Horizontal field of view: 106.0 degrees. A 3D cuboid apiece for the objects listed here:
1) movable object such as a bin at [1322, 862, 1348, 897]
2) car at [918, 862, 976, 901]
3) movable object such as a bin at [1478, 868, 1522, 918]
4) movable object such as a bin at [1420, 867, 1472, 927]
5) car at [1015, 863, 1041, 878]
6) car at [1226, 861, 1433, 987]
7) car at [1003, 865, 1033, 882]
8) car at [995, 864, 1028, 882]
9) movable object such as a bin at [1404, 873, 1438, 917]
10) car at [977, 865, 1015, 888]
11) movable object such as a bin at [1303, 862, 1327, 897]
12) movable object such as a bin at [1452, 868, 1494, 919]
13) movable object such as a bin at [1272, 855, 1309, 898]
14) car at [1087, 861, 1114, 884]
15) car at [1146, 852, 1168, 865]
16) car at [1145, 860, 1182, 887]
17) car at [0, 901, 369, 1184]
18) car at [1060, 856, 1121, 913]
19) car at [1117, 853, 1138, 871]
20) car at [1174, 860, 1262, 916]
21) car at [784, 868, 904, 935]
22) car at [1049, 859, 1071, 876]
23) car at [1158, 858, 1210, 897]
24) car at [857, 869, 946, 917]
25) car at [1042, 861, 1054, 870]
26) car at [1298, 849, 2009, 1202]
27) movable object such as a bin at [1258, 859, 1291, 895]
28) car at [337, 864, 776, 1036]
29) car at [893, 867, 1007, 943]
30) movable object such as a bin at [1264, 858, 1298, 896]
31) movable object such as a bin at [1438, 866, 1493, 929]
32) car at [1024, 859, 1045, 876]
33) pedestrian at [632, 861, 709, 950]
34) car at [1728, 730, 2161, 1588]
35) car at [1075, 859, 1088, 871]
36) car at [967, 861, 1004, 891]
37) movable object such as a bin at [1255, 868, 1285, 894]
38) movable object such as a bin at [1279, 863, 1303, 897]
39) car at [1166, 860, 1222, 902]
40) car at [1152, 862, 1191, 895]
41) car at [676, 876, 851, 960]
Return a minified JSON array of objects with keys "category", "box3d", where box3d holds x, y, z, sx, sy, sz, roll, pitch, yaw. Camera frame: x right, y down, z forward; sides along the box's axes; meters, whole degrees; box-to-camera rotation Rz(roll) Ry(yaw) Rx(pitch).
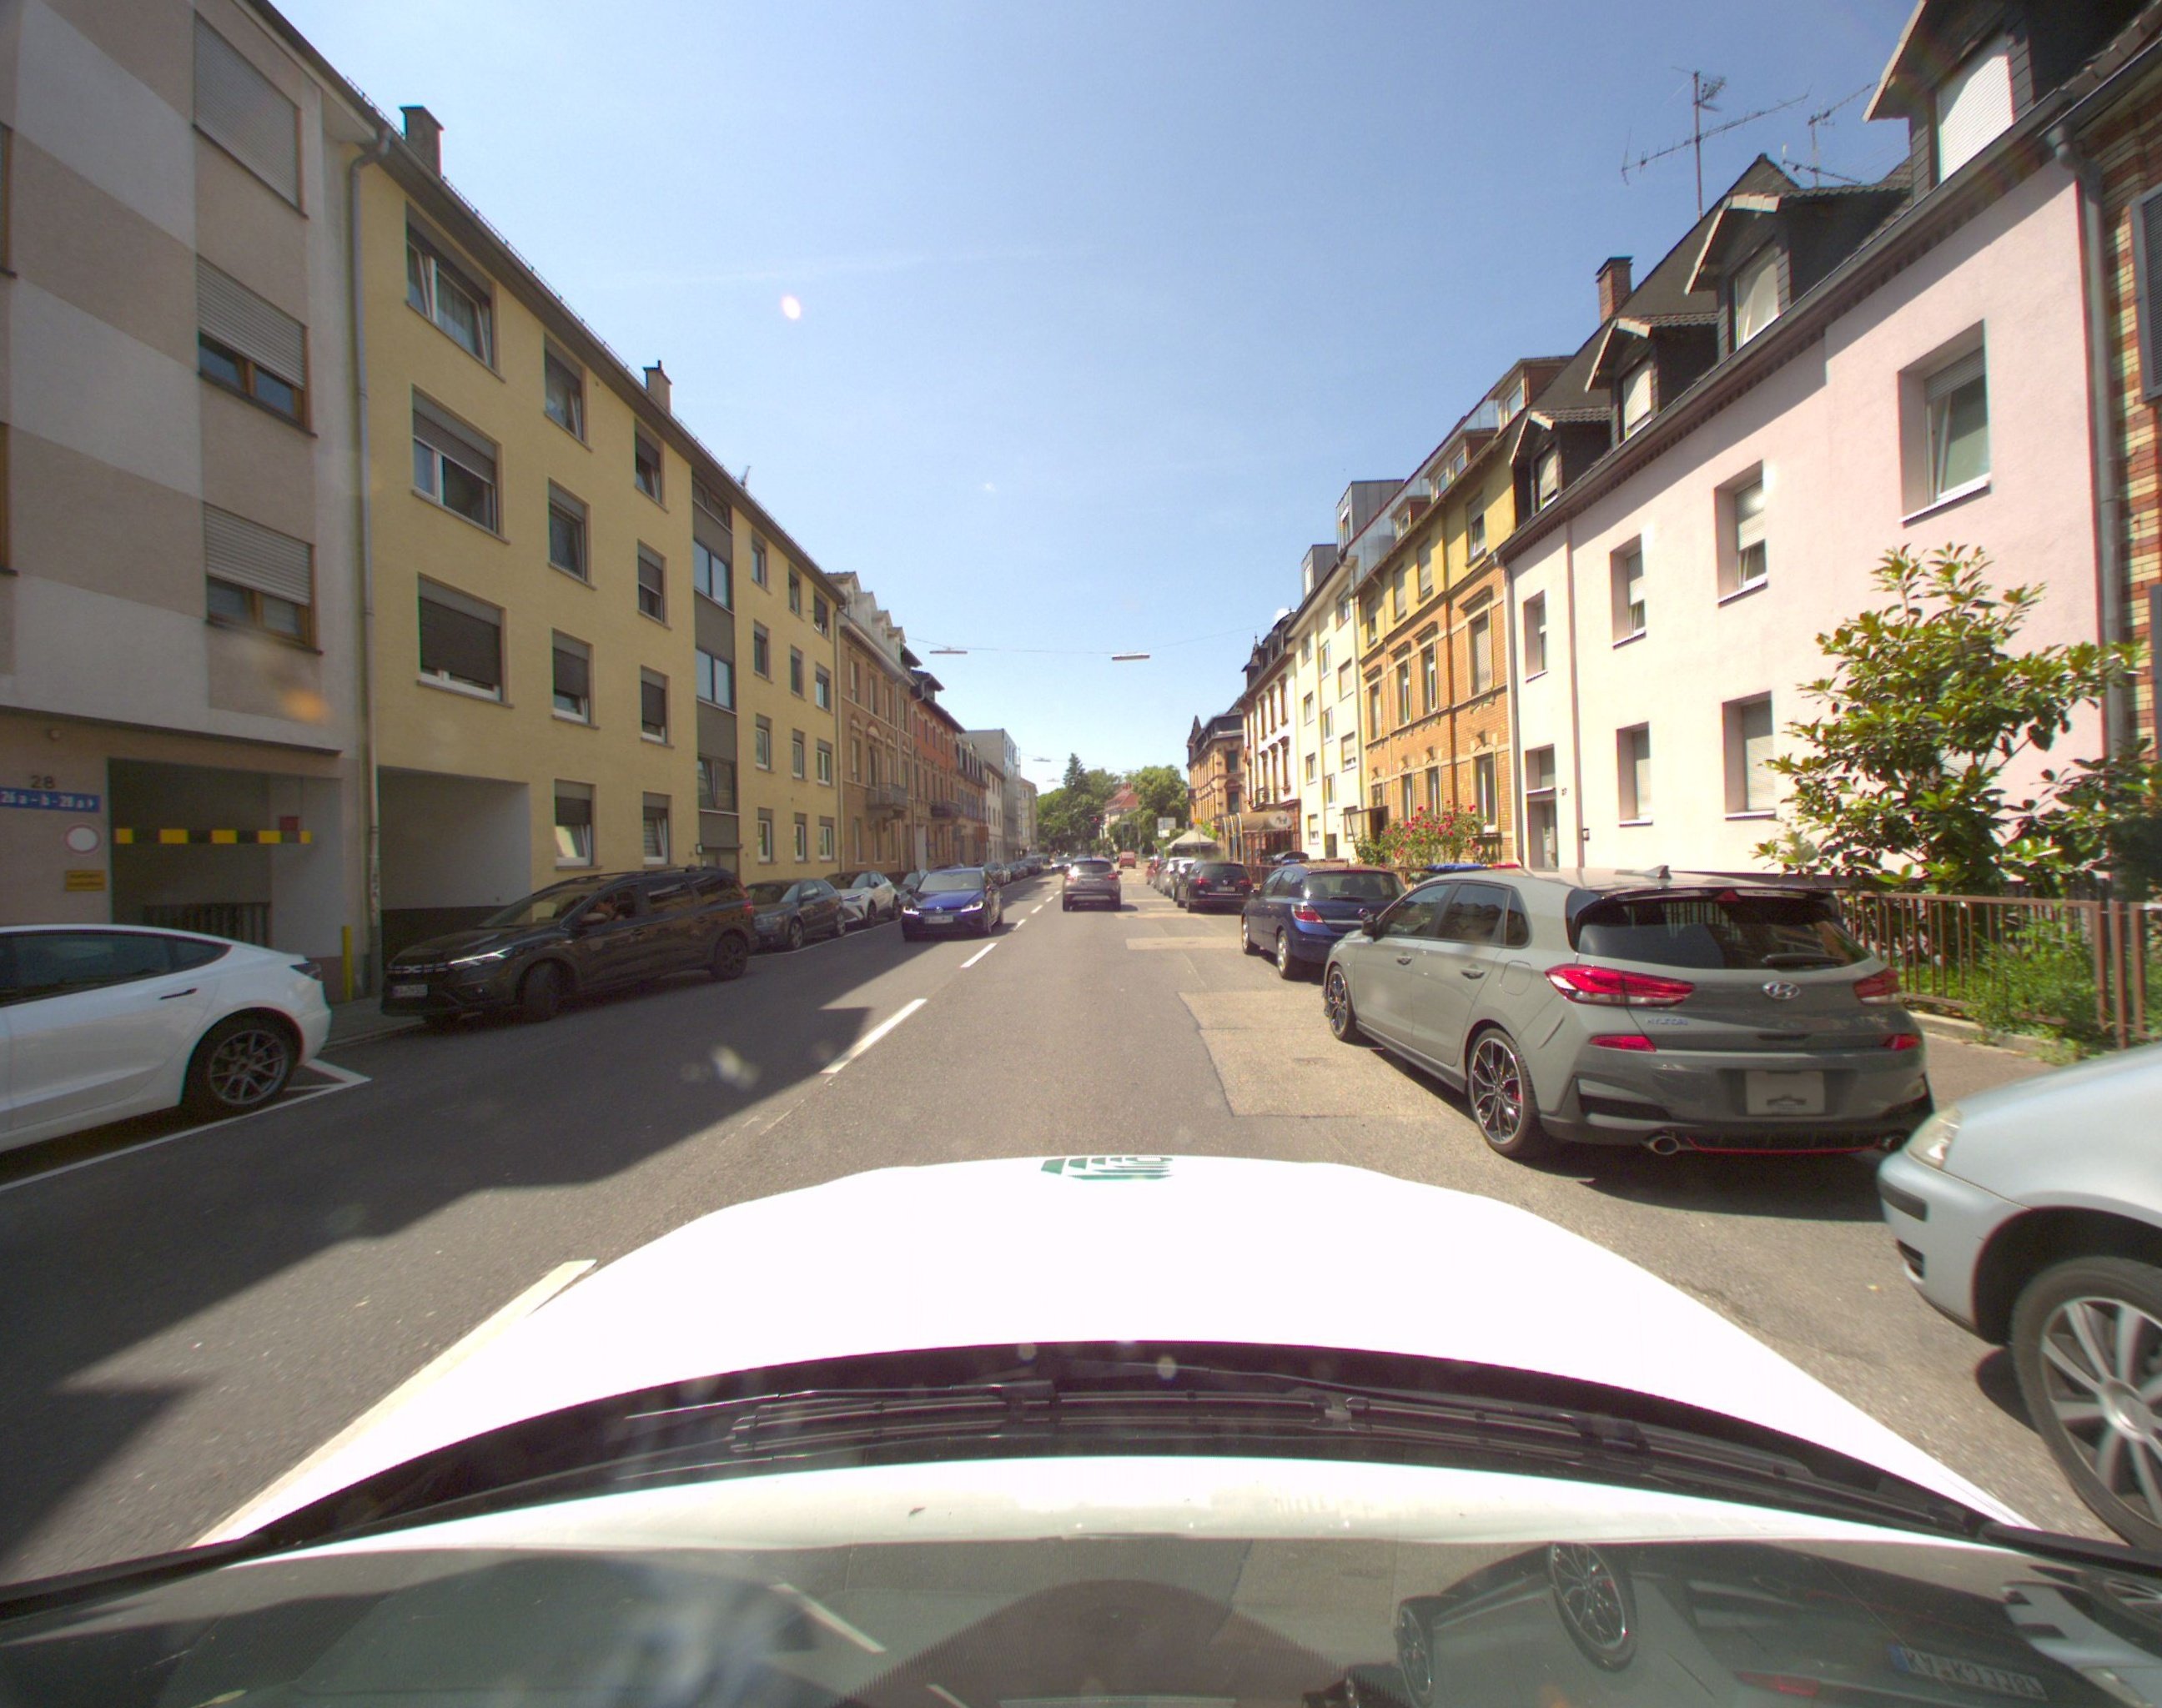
[{"category":"movable object such as a bin","box3d":[8.820,0.870,28.264,0.665,1.177,0.853,0,-1,3]},{"category":"car","box3d":[-6.162,1.235,37.899,1.898,1.620,4.302,-4,-1,0]},{"category":"movable object such as a bin","box3d":[9.009,0.828,17.520,0.557,1.050,0.667,-2,-1,0]},{"category":"movable object such as a bin","box3d":[6.834,0.794,15.273,0.649,1.083,0.684,-2,-1,4]},{"category":"car","box3d":[-4.911,1.475,75.704,1.897,1.291,4.304,-2,-1,2]},{"category":"car","box3d":[3.356,0.853,11.961,1.690,1.487,4.618,0,-1,0]},{"category":"car","box3d":[-5.266,1.649,68.767,1.897,1.291,4.305,-2,-1,3]},{"category":"car","box3d":[-5.372,1.449,63.362,1.896,1.291,4.306,-2,-1,3]},{"category":"movable object such as a bin","box3d":[7.330,0.884,17.583,0.466,0.913,0.564,-2,-1,0]},{"category":"car","box3d":[-5.697,1.458,54.966,1.898,1.357,4.304,-4,-1,2]},{"category":"movable object such as a bin","box3d":[8.109,0.883,28.282,0.635,1.186,0.853,0,-1,3]},{"category":"movable object such as a bin","box3d":[8.410,0.847,17.500,0.557,1.050,0.668,-2,-1,1]},{"category":"movable object such as a bin","box3d":[7.595,0.796,29.645,1.038,1.518,1.447,0,-1,3]},{"category":"car","box3d":[1.488,1.434,63.448,1.807,1.620,4.439,-3,-1,-1]},{"category":"car","box3d":[9.329,0.565,99.758,1.884,1.508,3.958,-3,-1,15]},{"category":"car","box3d":[4.535,1.068,45.162,1.607,1.443,3.434,-1,-1,-2]},{"category":"car","box3d":[-6.747,1.129,4.277,1.833,1.422,4.559,-5,-1,2]},{"category":"car","box3d":[0.309,0.897,25.583,1.738,1.616,4.000,-1,-1,1]},{"category":"car","box3d":[5.412,0.922,95.309,1.987,2.014,4.464,-2,-1,-1]},{"category":"car","box3d":[3.878,0.923,23.779,1.854,1.465,4.618,0,0,0]},{"category":"car","box3d":[-6.336,1.203,22.306,1.898,1.510,4.302,-4,-1,1]},{"category":"car","box3d":[-2.025,1.295,79.320,1.933,1.626,3.999,-1,-1,0]},{"category":"car","box3d":[4.330,0.964,34.824,1.853,1.553,4.002,0,-1,2]},{"category":"car","box3d":[-6.206,1.320,28.731,1.898,1.401,4.755,-4,-1,1]},{"category":"car","box3d":[-6.150,2.098,150.675,1.783,1.626,3.746,-1,0,3]},{"category":"car","box3d":[3.025,0.744,5.624,1.855,1.487,4.307,0,-1,-1]},{"category":"movable object such as a bin","box3d":[7.662,0.890,32.273,1.038,1.402,1.255,0,-1,3]},{"category":"car","box3d":[-6.361,1.053,10.656,1.889,1.638,4.579,-4,-1,18]},{"category":"car","box3d":[-2.759,1.041,18.010,1.810,1.388,3.999,-2,-1,0]},{"category":"movable object such as a bin","box3d":[7.591,0.868,31.017,1.038,1.402,1.255,0,-1,3]},{"category":"movable object such as a bin","box3d":[6.828,0.762,14.484,0.649,1.083,0.684,-2,-1,4]},{"category":"car","box3d":[-5.077,1.459,89.663,1.897,1.821,4.304,-2,-1,2]},{"category":"pedestrian","box3d":[-8.509,1.047,16.937,0.963,1.750,1.155,-2,-1,1]},{"category":"car","box3d":[3.174,0.614,0.461,1.856,1.748,4.614,0,-1,-2]},{"category":"car","box3d":[0.007,1.602,119.353,1.786,1.626,3.740,-1,0,-2]},{"category":"car","box3d":[-5.770,1.339,49.588,1.900,1.620,4.297,-4,-1,-3]},{"category":"movable object such as a bin","box3d":[7.732,1.099,33.404,1.038,1.023,0.992,0,-1,3]},{"category":"movable object such as a bin","box3d":[7.301,0.899,28.288,0.635,1.177,0.912,0,-1,3]},{"category":"car","box3d":[4.130,0.962,30.248,1.653,1.441,4.002,0,0,2]},{"category":"car","box3d":[4.339,1.154,39.452,1.605,1.461,3.506,-1,-1,2]},{"category":"car","box3d":[-6.431,1.234,17.031,1.898,1.379,4.062,-4,-1,1]}]
